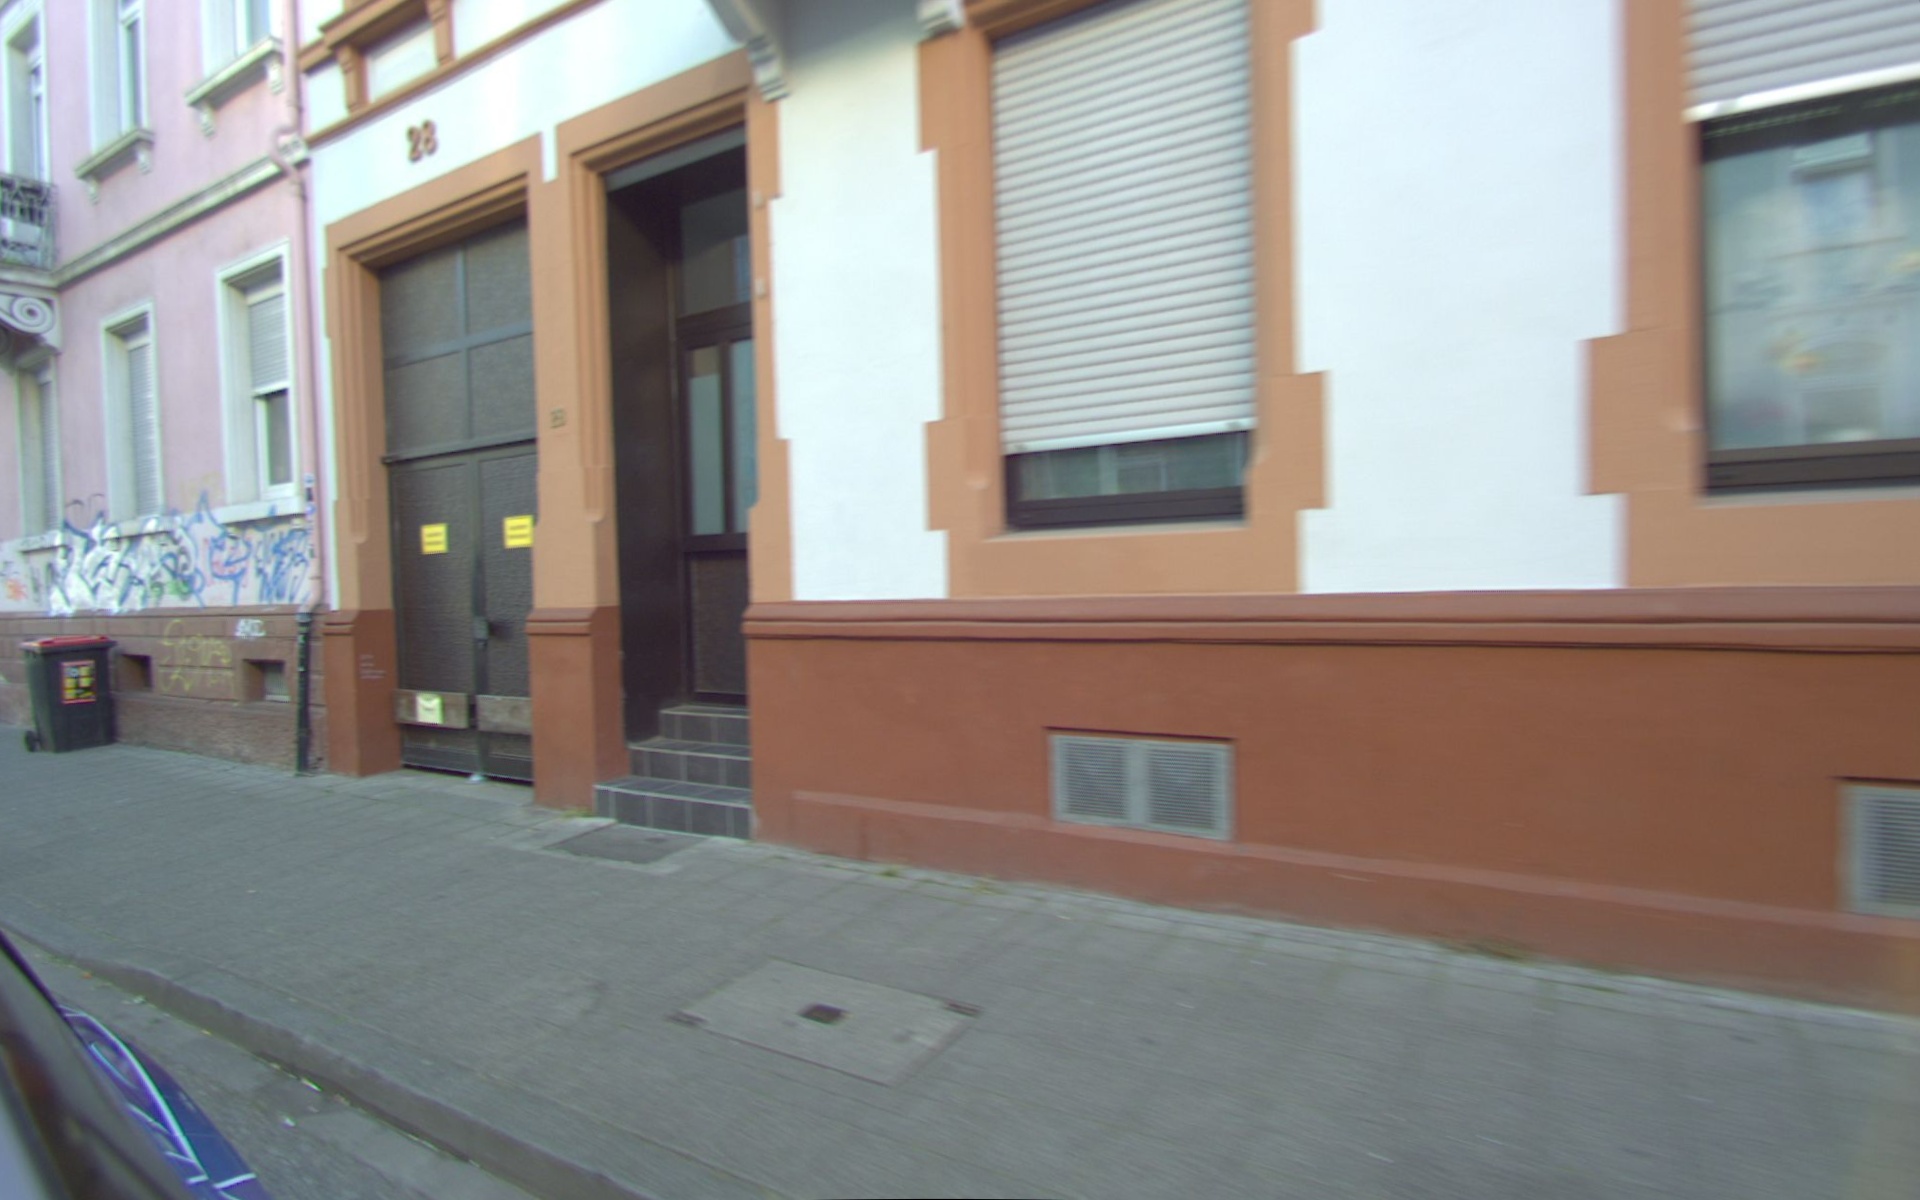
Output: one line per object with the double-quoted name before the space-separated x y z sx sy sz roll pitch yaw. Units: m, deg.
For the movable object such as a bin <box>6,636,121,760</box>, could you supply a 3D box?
"movable object such as a bin" -8.269 0.880 9.344 0.594 1.043 0.601 -1 2 31
